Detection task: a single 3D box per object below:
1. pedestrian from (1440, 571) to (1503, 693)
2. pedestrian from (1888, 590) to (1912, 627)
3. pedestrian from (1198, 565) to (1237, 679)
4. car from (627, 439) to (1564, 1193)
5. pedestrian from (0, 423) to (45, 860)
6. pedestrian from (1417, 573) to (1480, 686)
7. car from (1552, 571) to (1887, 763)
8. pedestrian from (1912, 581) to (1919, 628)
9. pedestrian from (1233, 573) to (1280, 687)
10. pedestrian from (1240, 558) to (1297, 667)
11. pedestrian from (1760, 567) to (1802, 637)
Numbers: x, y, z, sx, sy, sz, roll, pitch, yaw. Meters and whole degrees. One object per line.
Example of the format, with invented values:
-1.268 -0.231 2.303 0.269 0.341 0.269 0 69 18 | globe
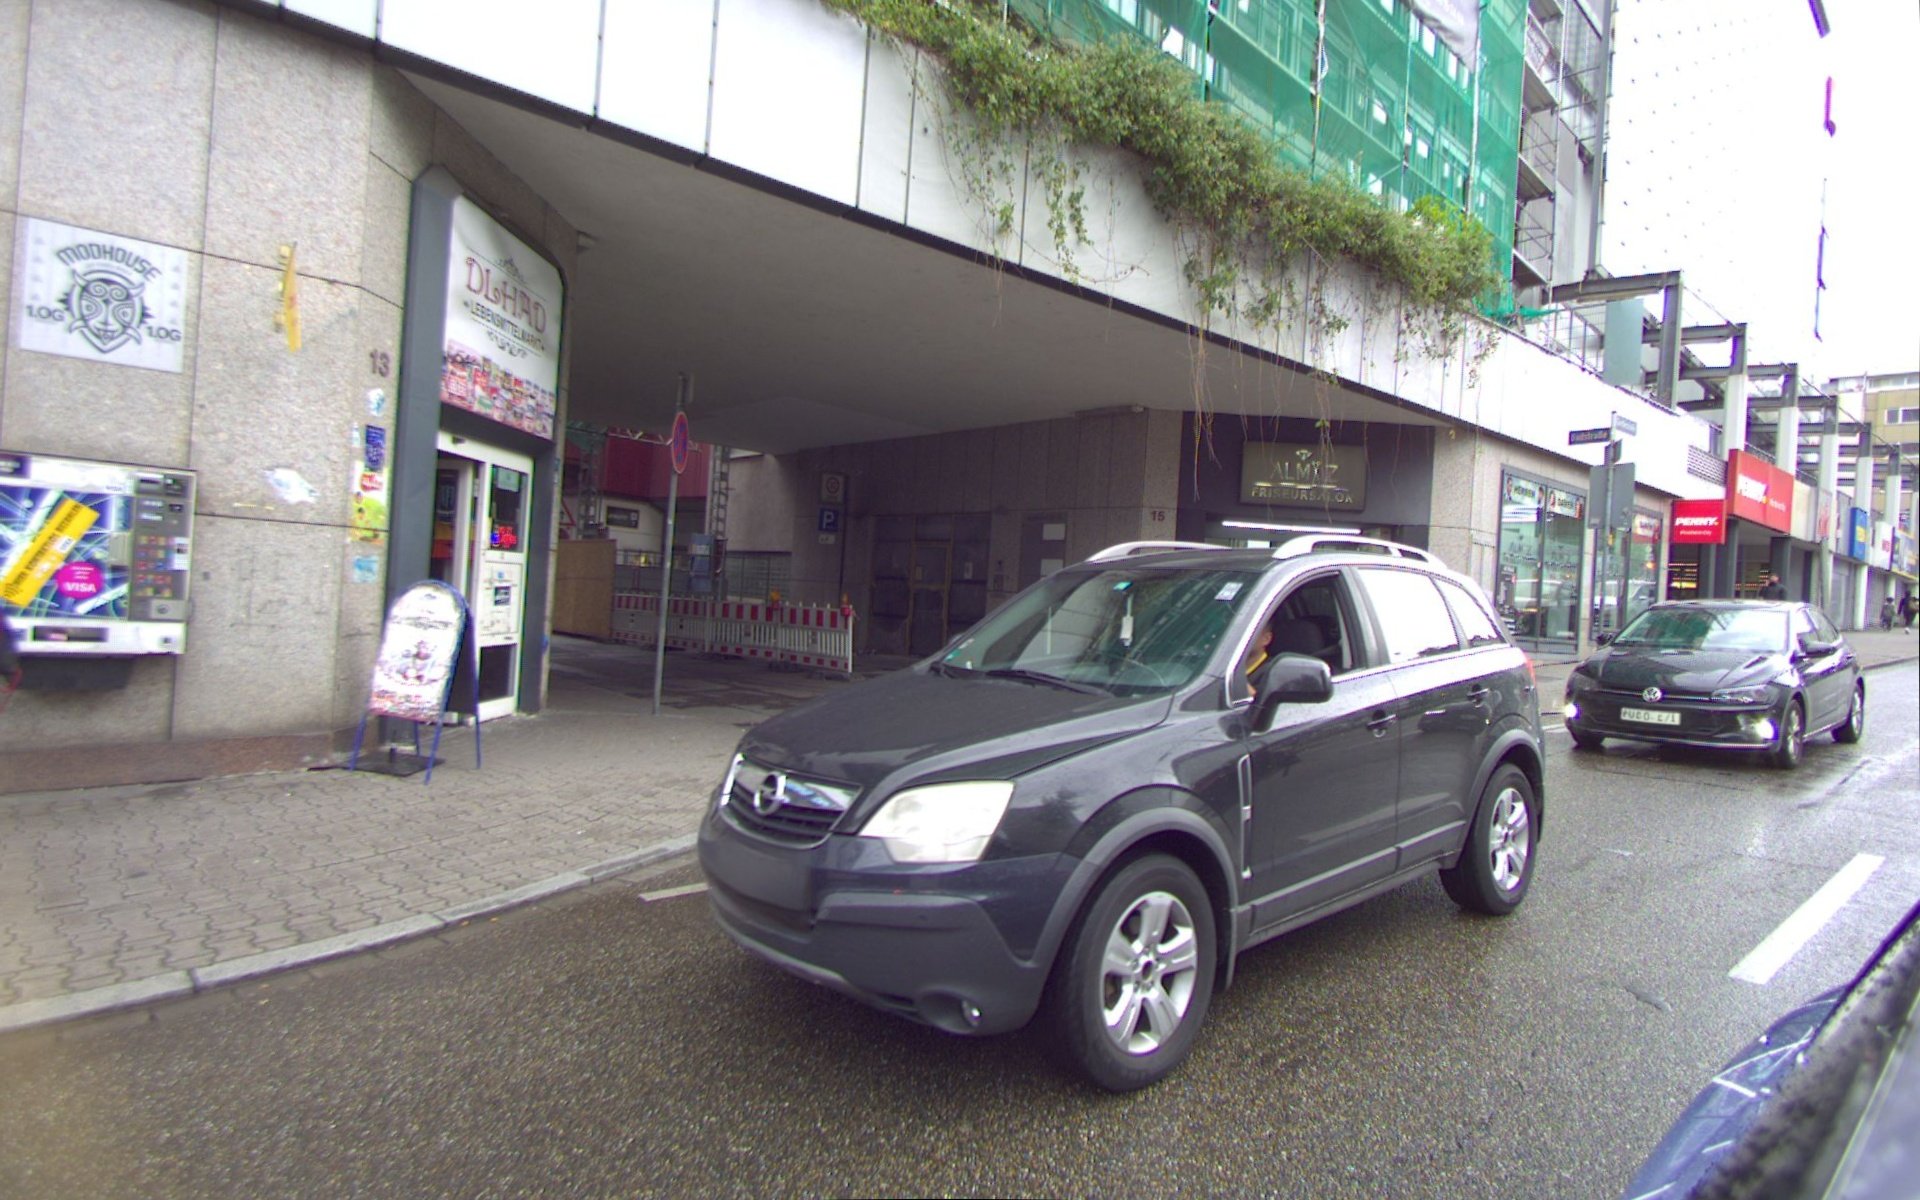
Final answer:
7.218 0.424 14.280 0.578 1.647 0.666 3 3 44 | pedestrian
30.912 0.274 33.281 0.570 1.181 0.509 -1 3 -42 | pedestrian
3.971 0.326 15.610 0.474 1.729 0.467 0 0 1 | pedestrian
0.896 0.527 4.412 4.090 1.788 1.763 1 0 -40 | car
-4.668 0.167 4.659 0.629 1.957 0.738 -1 5 -41 | pedestrian
7.367 0.421 15.259 0.721 1.663 0.637 -1 1 -44 | pedestrian
7.650 0.551 10.056 4.089 1.523 1.758 1 0 -39 | car
31.299 0.153 32.822 0.570 1.519 0.509 -1 3 -42 | pedestrian
4.307 0.415 14.719 0.630 1.615 0.574 0 0 17 | pedestrian
5.382 0.204 17.683 0.730 1.838 0.773 2 2 3 | pedestrian
20.379 0.045 25.119 0.499 1.699 0.581 0 2 -19 | pedestrian
